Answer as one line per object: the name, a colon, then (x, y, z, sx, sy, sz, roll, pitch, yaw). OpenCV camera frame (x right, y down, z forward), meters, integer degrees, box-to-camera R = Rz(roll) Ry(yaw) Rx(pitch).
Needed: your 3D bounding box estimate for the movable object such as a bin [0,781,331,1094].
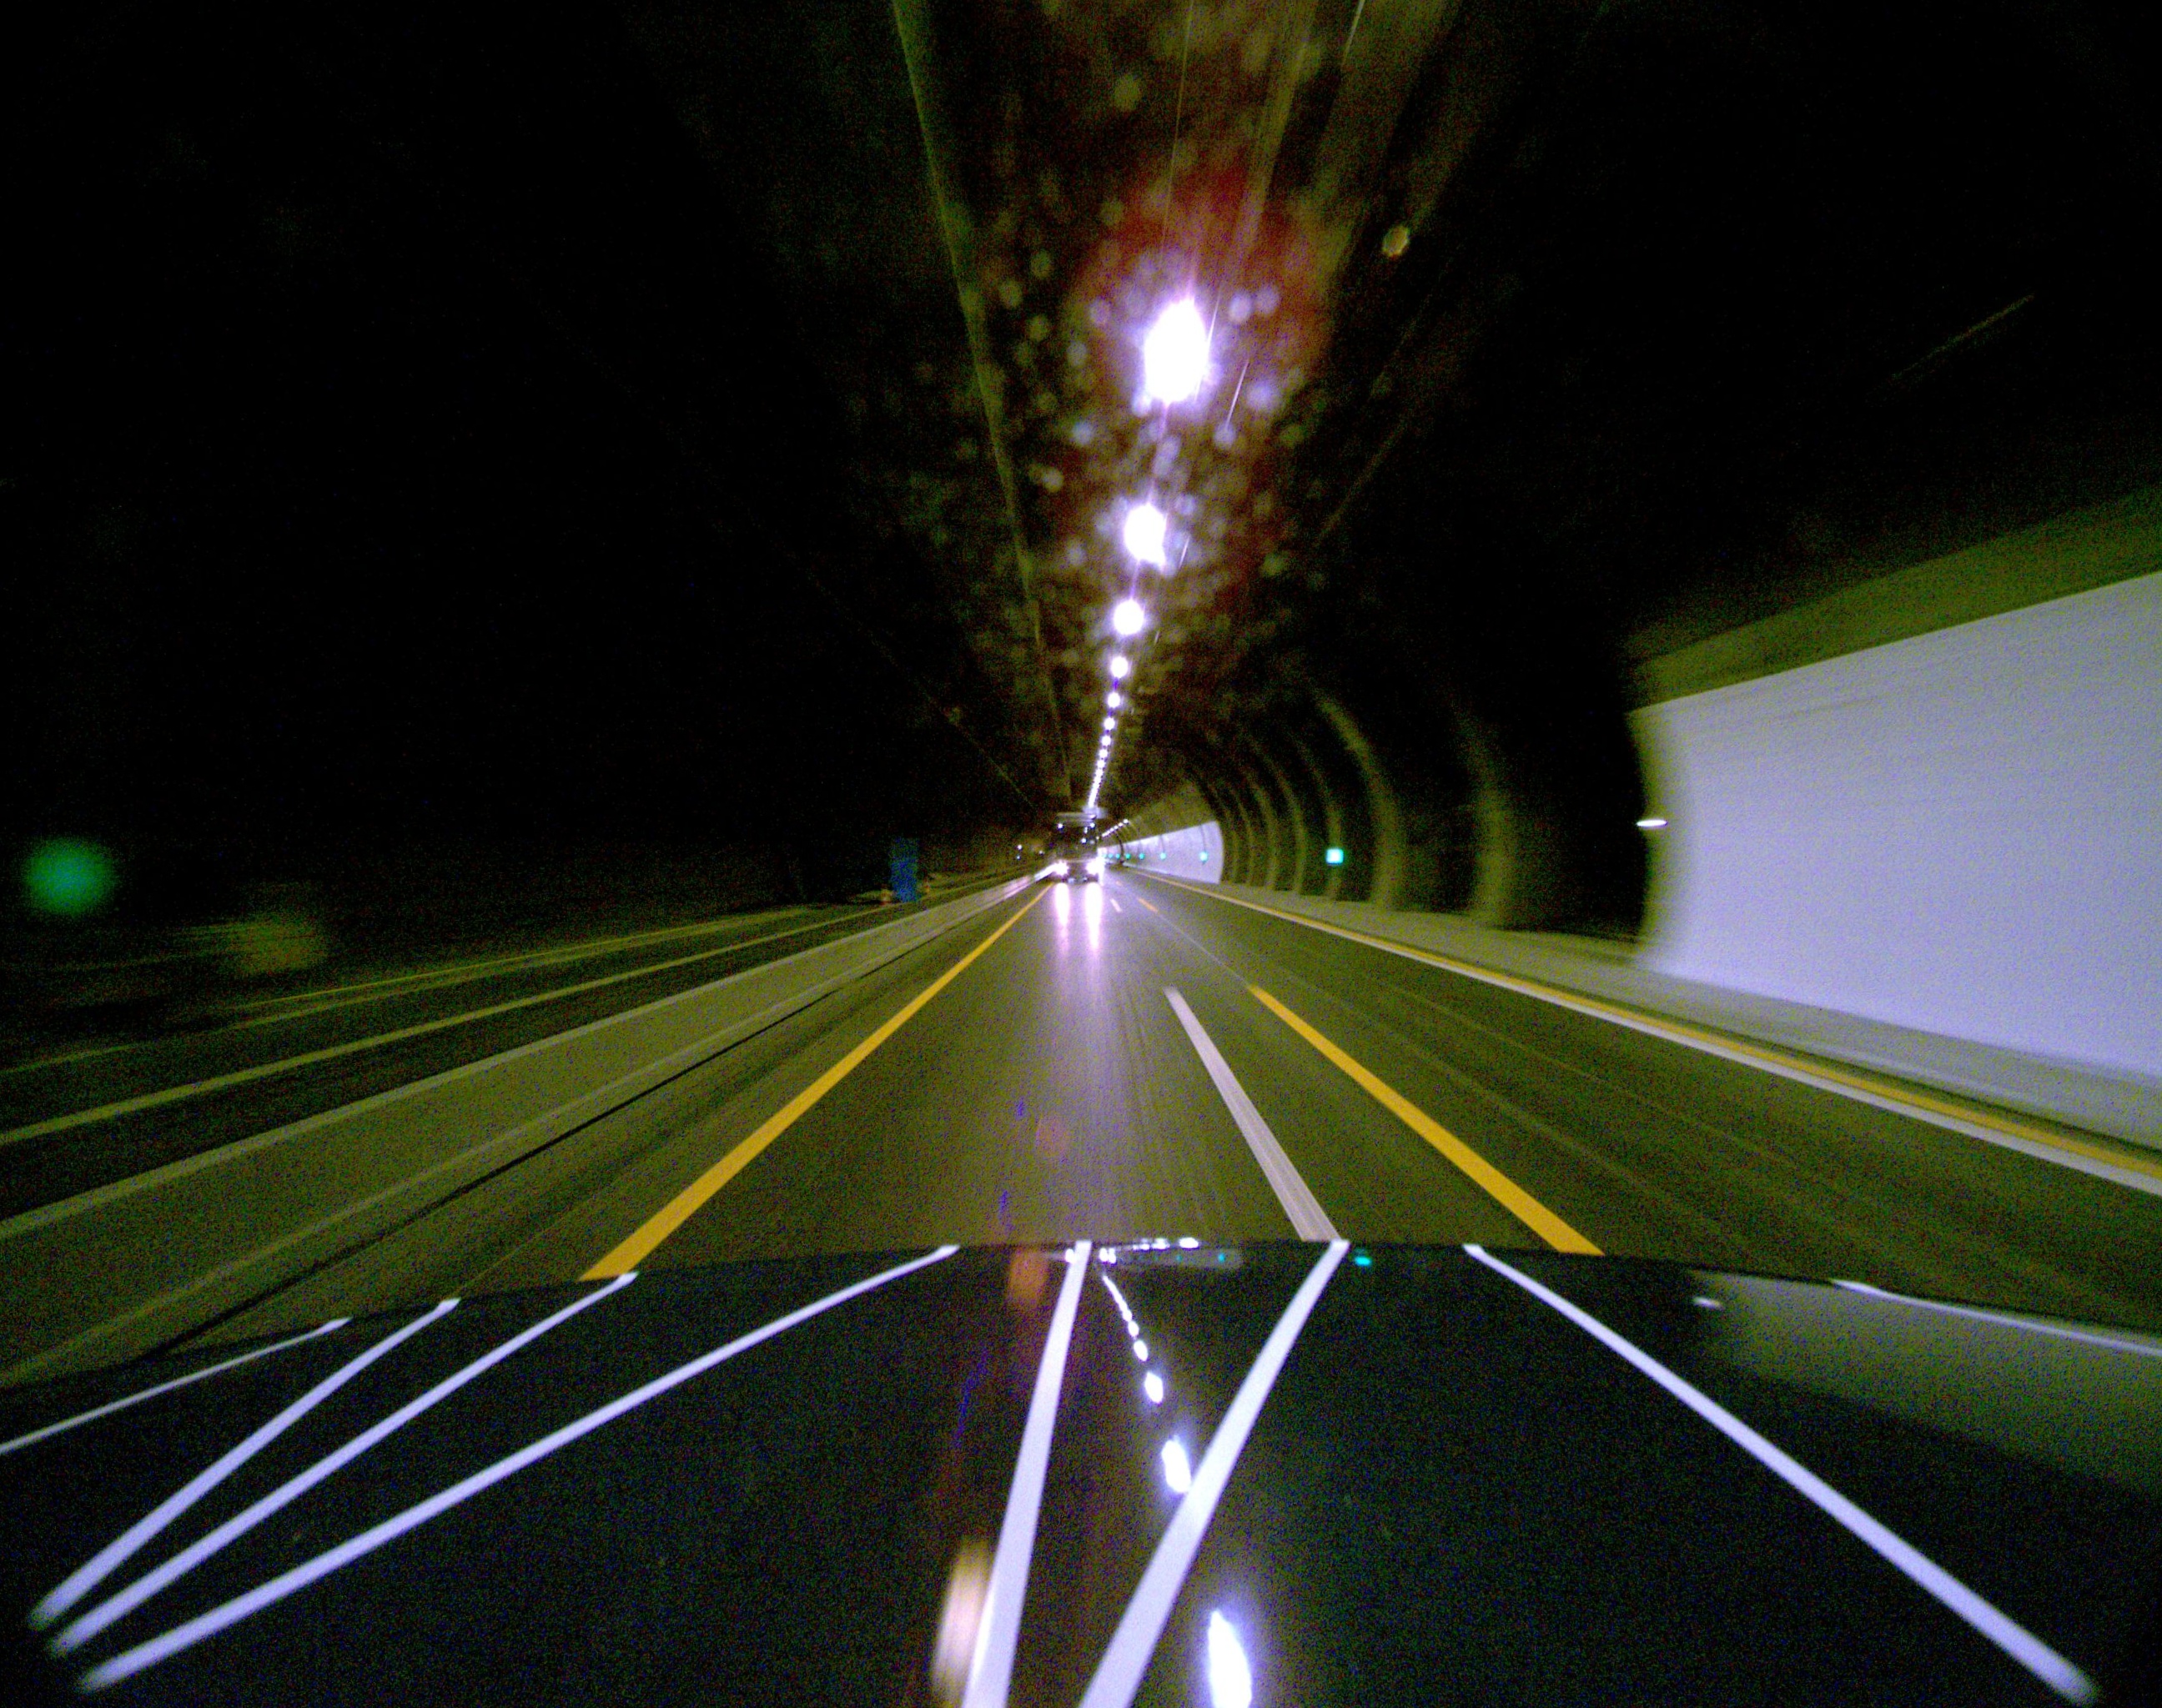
movable object such as a bin: (-9.024, 0.597, 6.223, 1.761, 2.366, 3.999, 2, 1, 0)

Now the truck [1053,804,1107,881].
truck: (-0.123, -0.672, 46.610, 2.951, 4.338, 6.673, -1, 1, -1)

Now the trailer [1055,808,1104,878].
trailer: (-0.247, -0.729, 52.201, 2.940, 4.316, 10.049, -1, 1, -2)
